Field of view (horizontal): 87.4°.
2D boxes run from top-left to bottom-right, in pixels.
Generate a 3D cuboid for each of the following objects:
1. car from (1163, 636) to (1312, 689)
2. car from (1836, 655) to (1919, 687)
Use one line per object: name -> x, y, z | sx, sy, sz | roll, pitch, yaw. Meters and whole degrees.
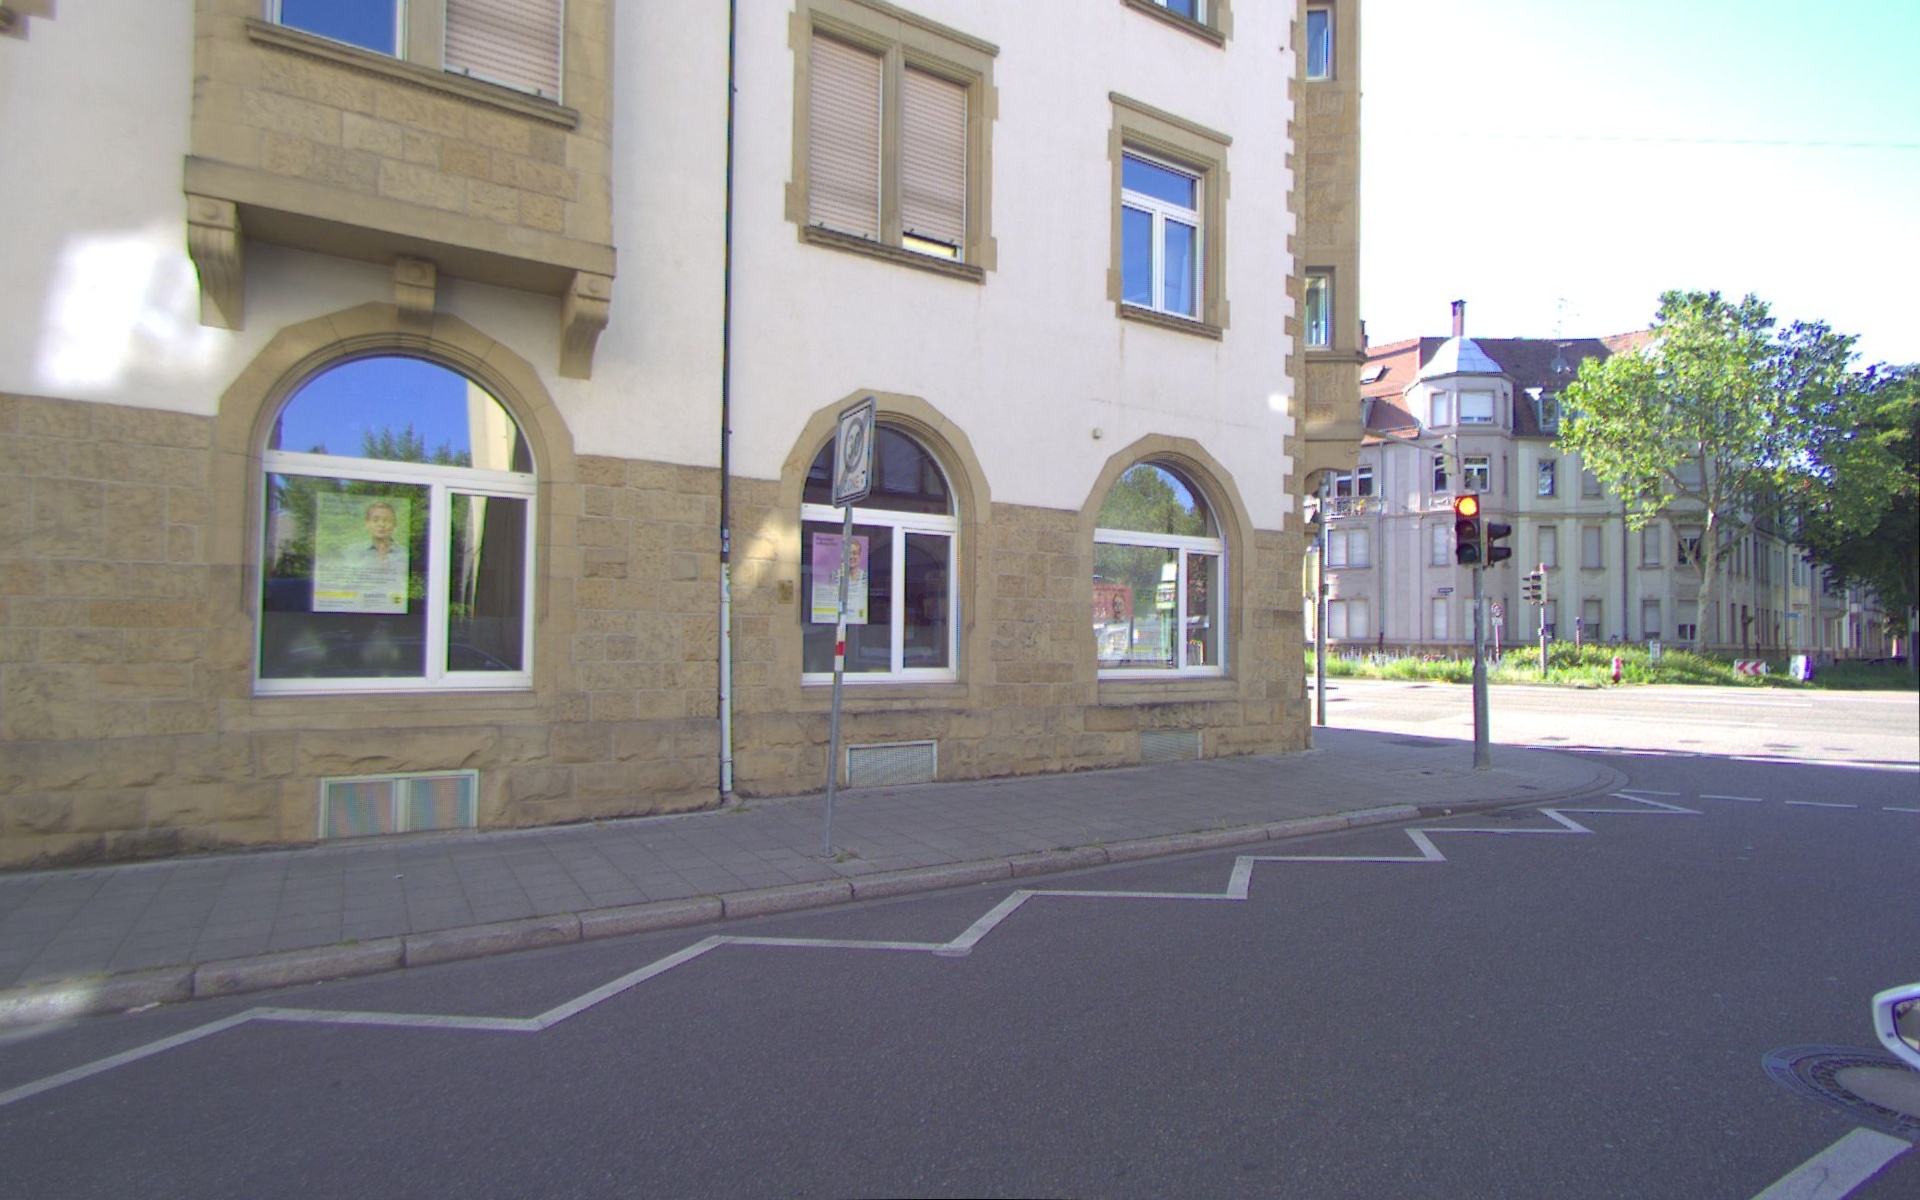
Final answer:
car -> 8.355, 1.845, 30.393 | 3.944, 1.336, 1.812 | 2, -1, 43
car -> 46.165, 3.497, 49.916 | 3.943, 1.505, 1.673 | -2, -3, 42
